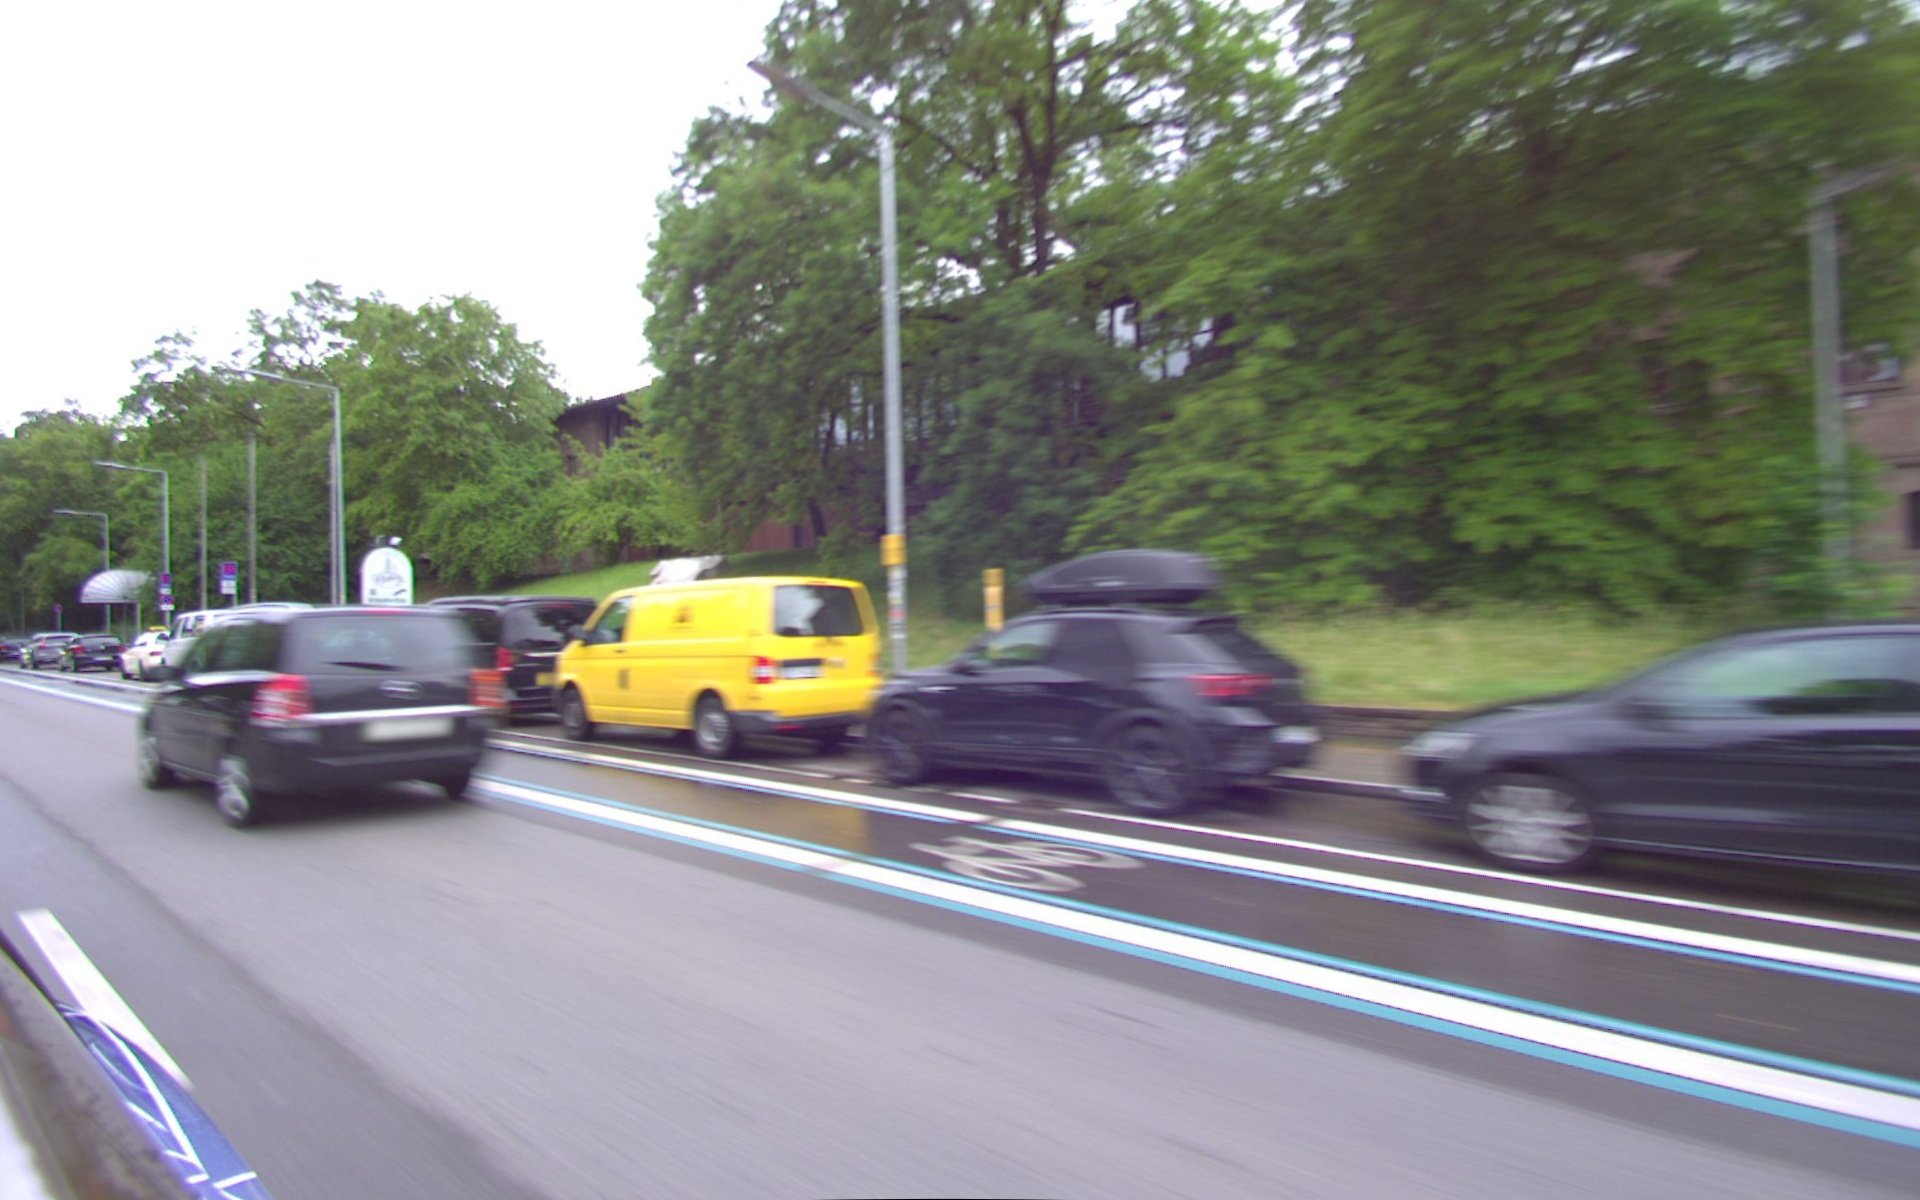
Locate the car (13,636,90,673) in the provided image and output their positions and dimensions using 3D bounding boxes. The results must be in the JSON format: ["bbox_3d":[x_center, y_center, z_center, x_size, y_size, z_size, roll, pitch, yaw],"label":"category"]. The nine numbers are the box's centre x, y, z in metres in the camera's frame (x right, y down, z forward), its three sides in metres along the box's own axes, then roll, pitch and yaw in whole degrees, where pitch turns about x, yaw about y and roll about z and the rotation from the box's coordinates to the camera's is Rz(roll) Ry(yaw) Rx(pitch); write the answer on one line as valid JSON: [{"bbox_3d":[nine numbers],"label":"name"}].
[{"bbox_3d":[-38.640,2.290,43.016,4.323,1.479,1.772,-2,-2,39],"label":"car"}]

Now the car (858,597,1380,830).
[{"bbox_3d":[1.151,0.803,8.635,4.149,1.516,1.691,-2,-2,42],"label":"car"}]

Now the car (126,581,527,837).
[{"bbox_3d":[-5.438,0.777,8.470,4.147,1.630,1.693,-2,-3,41],"label":"car"}]

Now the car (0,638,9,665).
[{"bbox_3d":[-59.016,3.165,61.202,4.540,1.554,1.799,-3,-3,41],"label":"car"}]

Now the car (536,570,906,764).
[{"bbox_3d":[-3.080,0.743,12.391,4.842,1.928,1.973,-2,-2,41],"label":"car"}]

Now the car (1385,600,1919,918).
[{"bbox_3d":[4.651,0.746,5.476,4.036,1.457,1.591,-2,-2,41],"label":"car"}]

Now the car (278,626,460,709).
[{"bbox_3d":[-11.841,1.283,20.155,4.607,1.470,1.666,-2,-2,40],"label":"car"}]

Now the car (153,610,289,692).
[{"bbox_3d":[-19.738,1.319,26.967,4.731,1.992,1.853,-2,-2,40],"label":"car"}]

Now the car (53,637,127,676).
[{"bbox_3d":[-33.450,2.137,38.879,3.584,1.382,1.658,-2,-2,41],"label":"car"}]

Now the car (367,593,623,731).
[{"bbox_3d":[-7.764,0.954,16.636,5.201,1.935,1.857,-2,-2,41],"label":"car"}]

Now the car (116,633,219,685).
[{"bbox_3d":[-24.251,1.751,30.916,4.593,1.459,1.709,-2,-2,42],"label":"car"}]

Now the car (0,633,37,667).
[{"bbox_3d":[-52.022,2.773,55.382,3.998,1.779,1.799,-3,-3,41],"label":"car"}]
